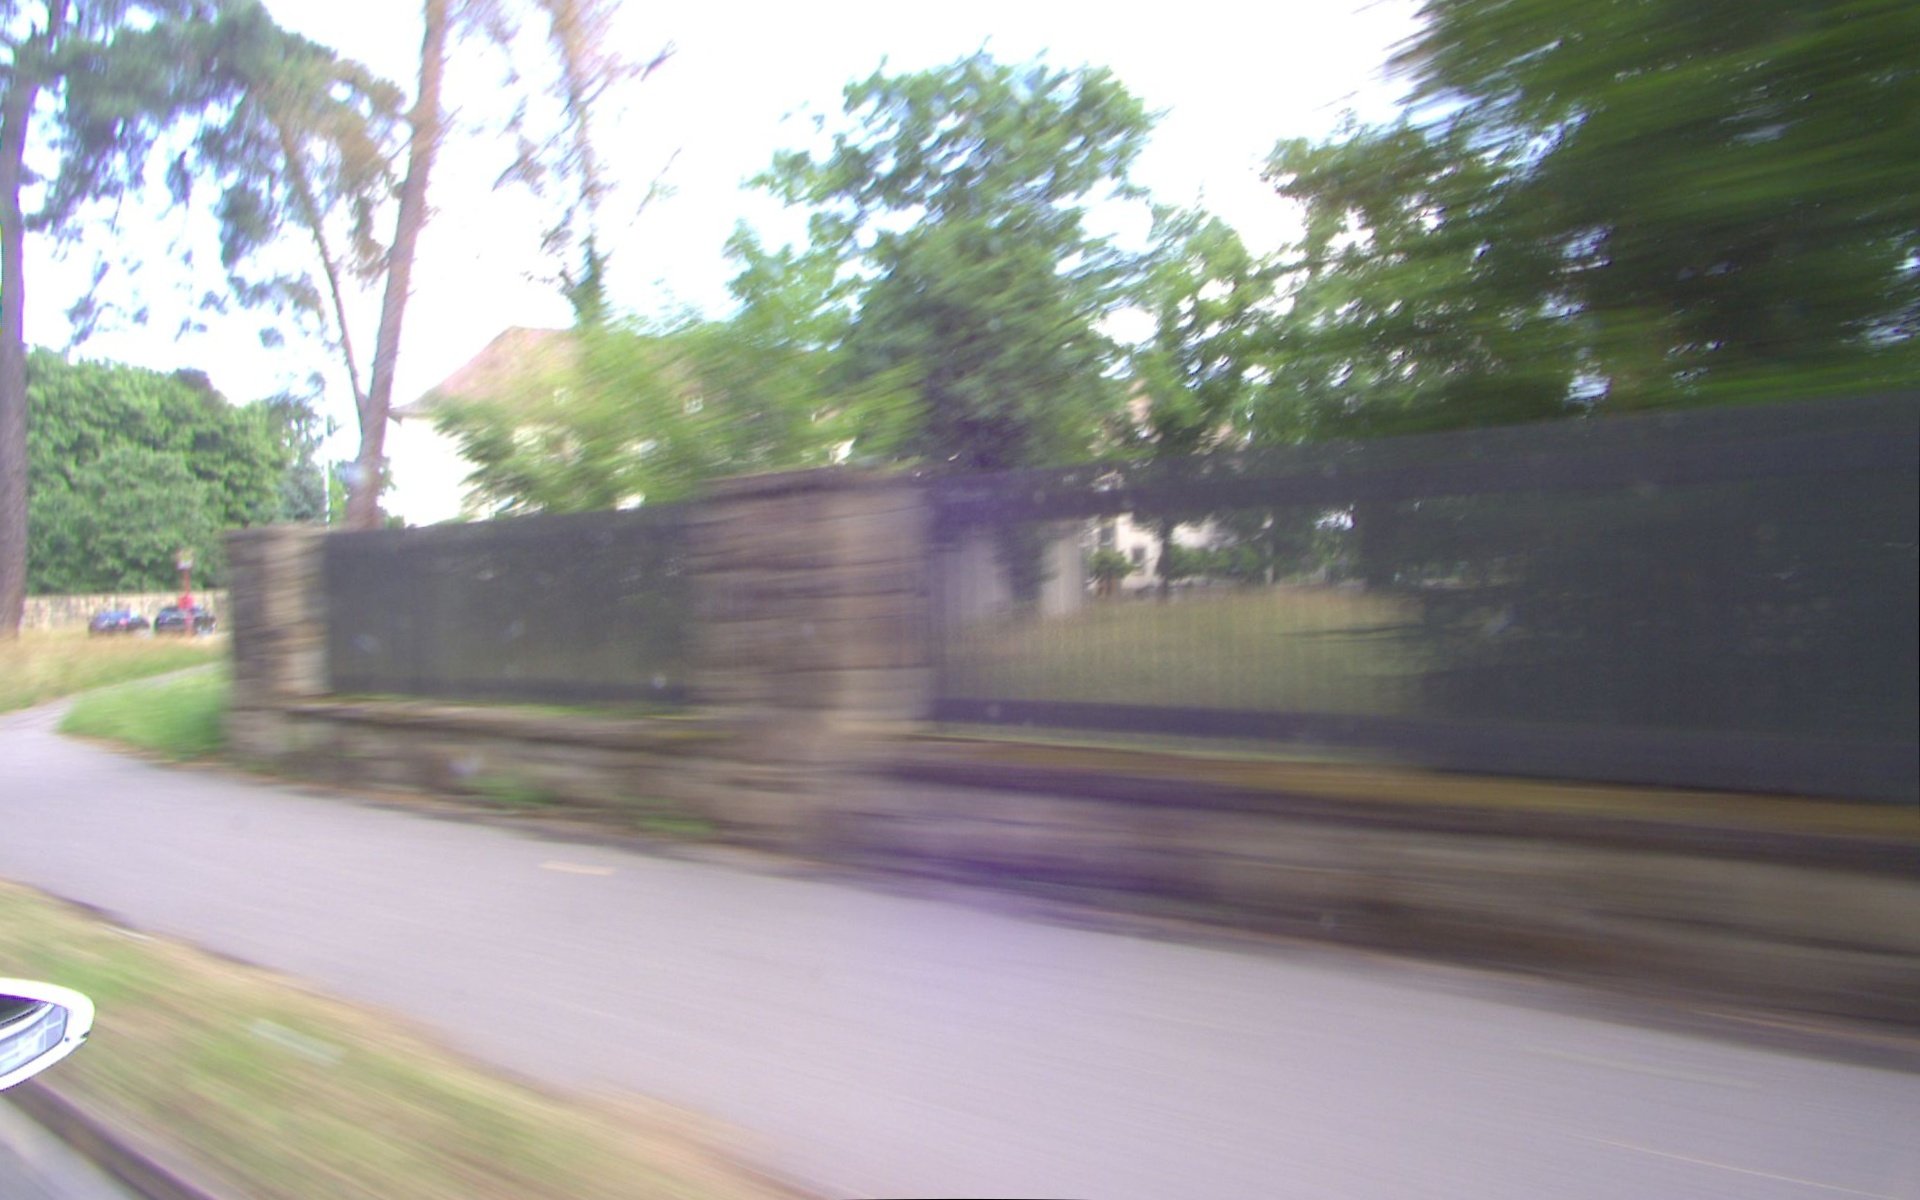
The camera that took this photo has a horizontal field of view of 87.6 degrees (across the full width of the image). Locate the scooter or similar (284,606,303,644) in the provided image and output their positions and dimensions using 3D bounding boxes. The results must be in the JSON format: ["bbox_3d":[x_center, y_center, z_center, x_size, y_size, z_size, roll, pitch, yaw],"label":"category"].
[{"bbox_3d":[-22.285,0.843,33.473,0.432,1.244,1.085,-1,-1,-29],"label":"scooter or similar"}]

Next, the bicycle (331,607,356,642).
[{"bbox_3d":[-23.183,0.901,37.665,0.626,1.257,2.164,-3,0,-29],"label":"bicycle"}]

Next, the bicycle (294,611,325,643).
[{"bbox_3d":[-23.392,0.958,36.044,0.729,1.099,1.676,-1,0,-26],"label":"bicycle"}]

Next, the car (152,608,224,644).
[{"bbox_3d":[-39.692,1.306,51.613,1.868,1.568,3.986,-2,2,-22],"label":"car"}]

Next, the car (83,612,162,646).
[{"bbox_3d":[-42.441,1.418,50.828,1.848,1.461,3.986,-2,2,-22],"label":"car"}]
